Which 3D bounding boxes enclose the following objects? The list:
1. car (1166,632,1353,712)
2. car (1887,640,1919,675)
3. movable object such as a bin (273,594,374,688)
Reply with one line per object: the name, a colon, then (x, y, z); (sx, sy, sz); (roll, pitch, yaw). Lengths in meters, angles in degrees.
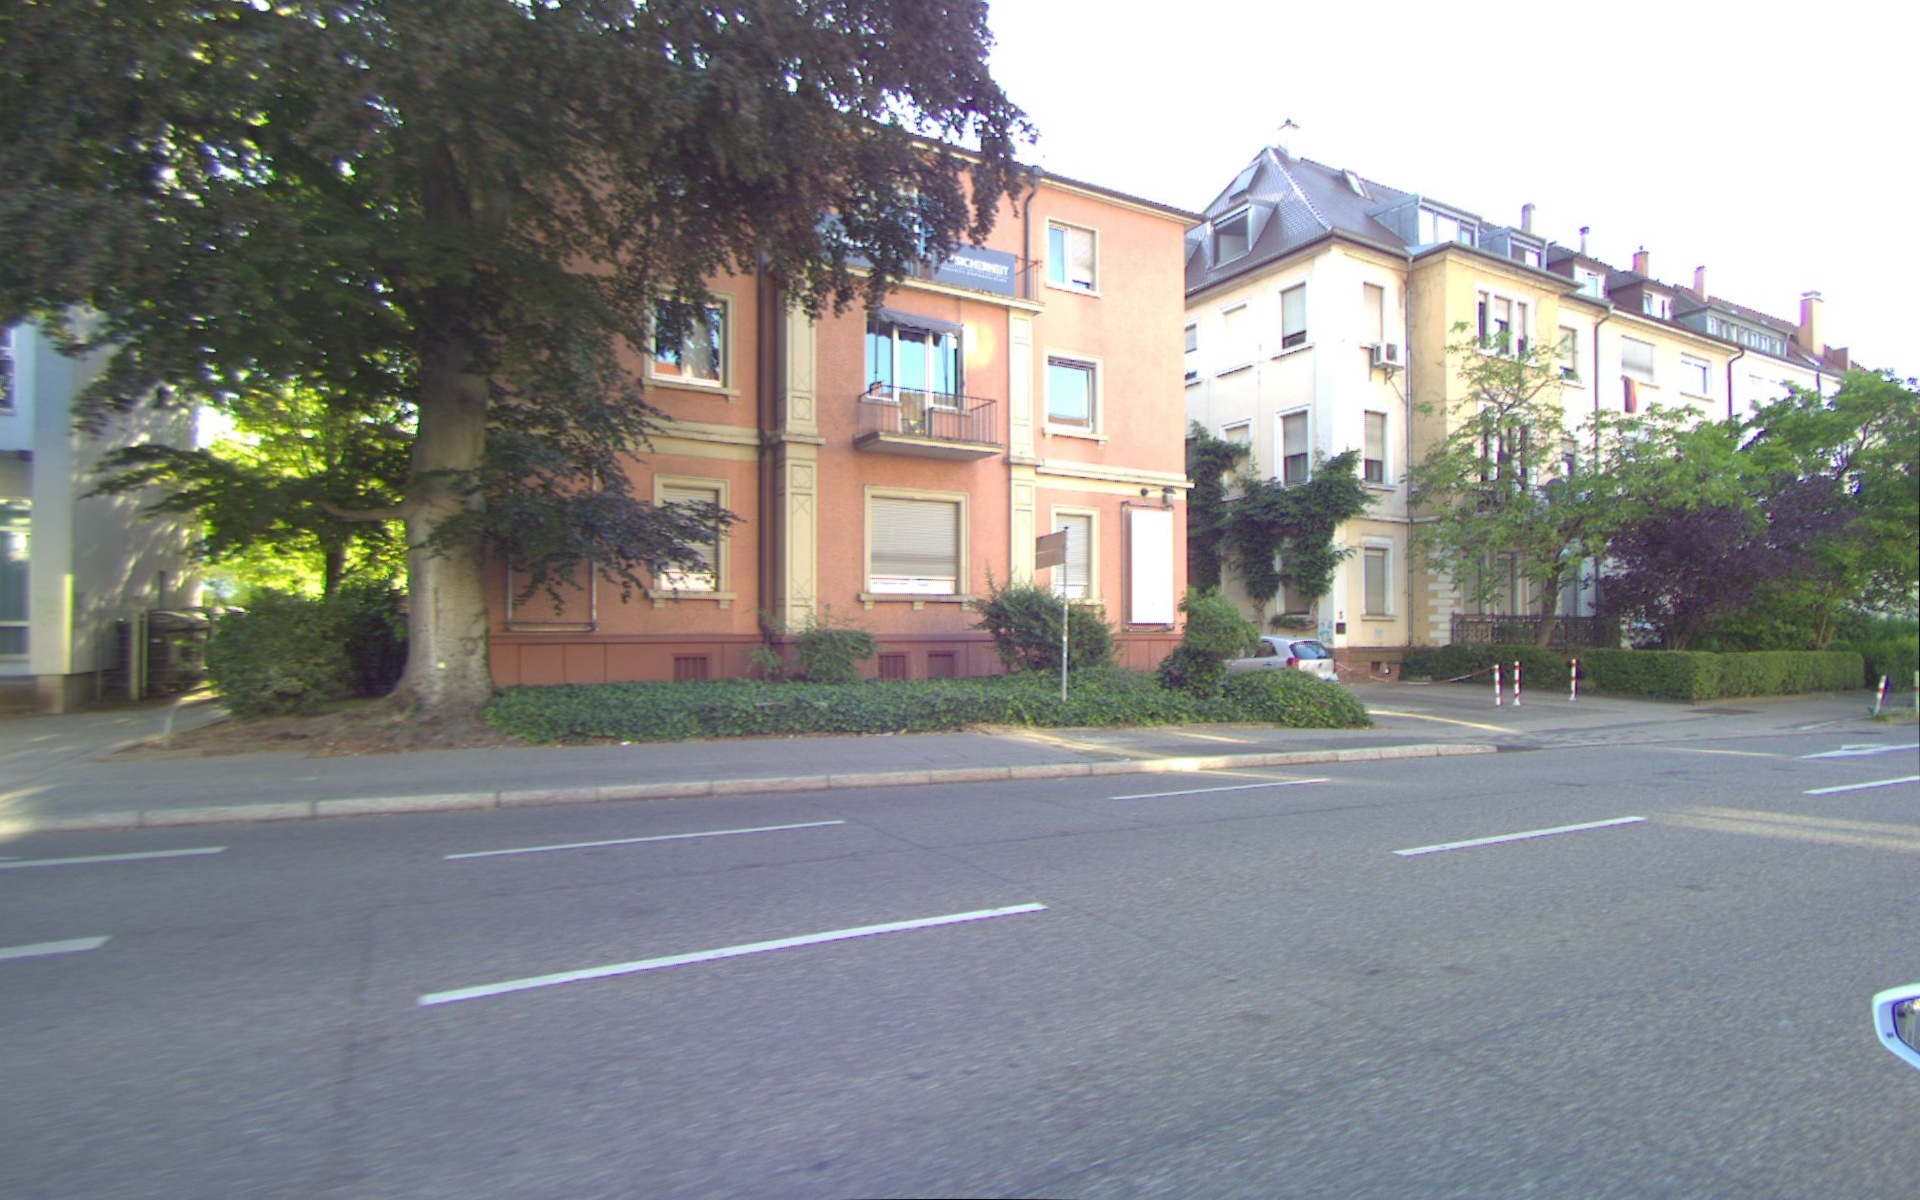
car: (6.225, 1.444, 21.181); (1.796, 1.505, 3.477); (1, -2, -33)
car: (40.190, 2.317, 40.008); (1.985, 1.380, 4.667); (1, -2, -42)
movable object such as a bin: (-11.894, 0.749, 18.854); (1.438, 1.673, 1.498); (0, -1, -27)
